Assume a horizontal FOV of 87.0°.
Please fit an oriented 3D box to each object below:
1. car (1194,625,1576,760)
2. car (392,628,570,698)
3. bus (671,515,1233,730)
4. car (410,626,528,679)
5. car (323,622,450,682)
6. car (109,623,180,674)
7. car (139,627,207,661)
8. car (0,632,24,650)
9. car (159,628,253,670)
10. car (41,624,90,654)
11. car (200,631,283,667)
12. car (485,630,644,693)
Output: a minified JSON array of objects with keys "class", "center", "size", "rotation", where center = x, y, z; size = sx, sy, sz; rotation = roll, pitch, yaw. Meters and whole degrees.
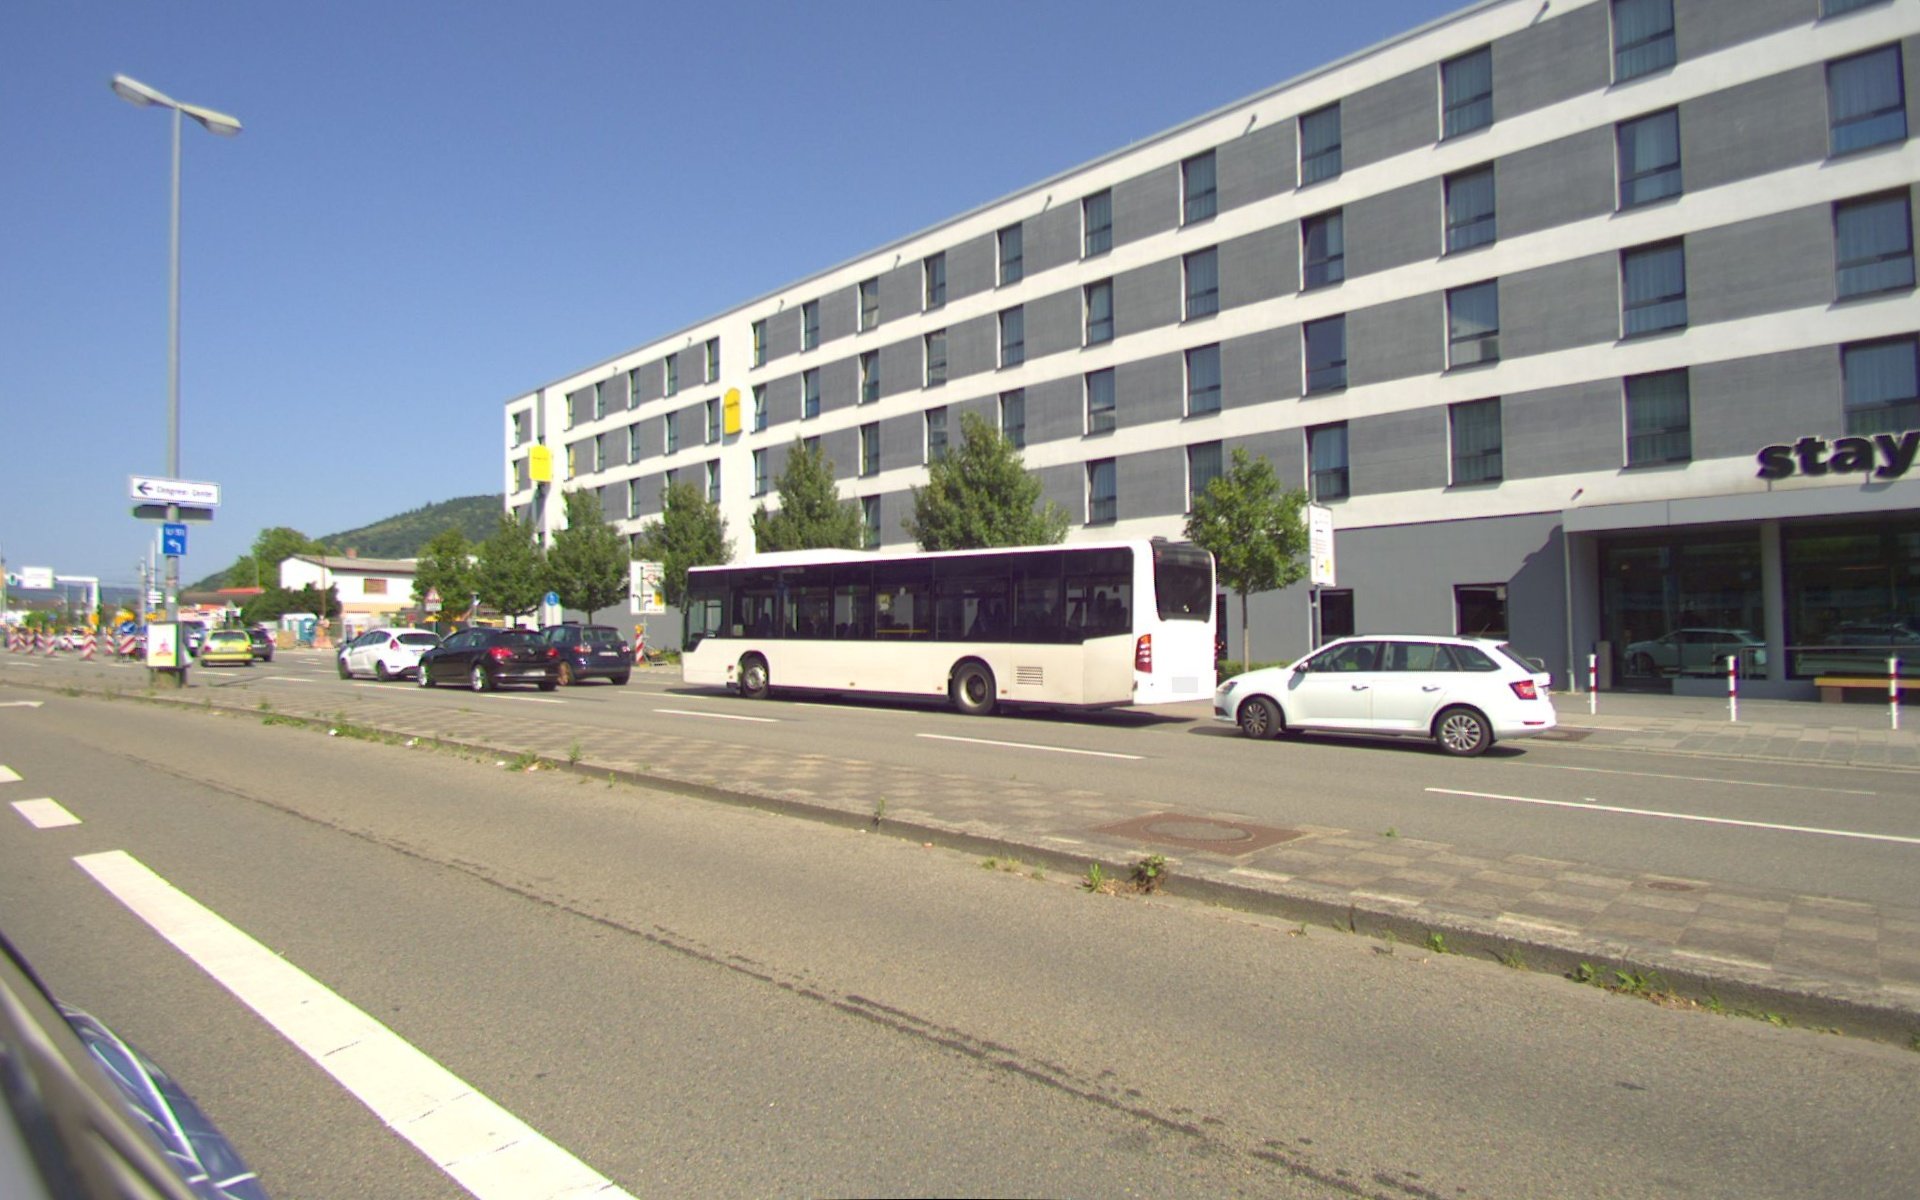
[{"class":"car","center":[5.605,1.142,13.556],"size":[4.403,1.497,1.976],"rotation":[-1,-4,36]},{"class":"car","center":[-11.368,1.398,23.857],"size":[4.888,1.443,1.973],"rotation":[-1,-1,40]},{"class":"bus","center":[-0.918,0.487,19.549],"size":[11.966,3.102,2.710],"rotation":[-1,-4,40]},{"class":"car","center":[-15.262,1.637,31.382],"size":[3.975,1.550,1.834],"rotation":[-3,-4,40]},{"class":"car","center":[-15.753,1.370,27.730],"size":[3.997,1.462,1.741],"rotation":[-1,0,40]},{"class":"car","center":[-34.835,2.018,43.206],"size":[4.162,2.029,1.658],"rotation":[-1,0,41]},{"class":"car","center":[-42.158,2.342,54.177],"size":[4.888,1.725,1.973],"rotation":[-2,-2,41]},{"class":"car","center":[-76.857,3.280,81.334],"size":[3.933,1.346,1.793],"rotation":[-1,-2,37]},{"class":"car","center":[-29.428,1.861,39.449],"size":[4.888,1.534,1.973],"rotation":[-2,-2,41]},{"class":"car","center":[-62.845,2.716,71.116],"size":[3.996,2.029,1.973],"rotation":[-2,-3,40]},{"class":"car","center":[-32.632,2.186,45.913],"size":[4.888,1.534,1.973],"rotation":[-2,-2,41]},{"class":"car","center":[-10.698,1.582,27.220],"size":[4.888,1.534,1.973],"rotation":[-2,-2,41]}]
